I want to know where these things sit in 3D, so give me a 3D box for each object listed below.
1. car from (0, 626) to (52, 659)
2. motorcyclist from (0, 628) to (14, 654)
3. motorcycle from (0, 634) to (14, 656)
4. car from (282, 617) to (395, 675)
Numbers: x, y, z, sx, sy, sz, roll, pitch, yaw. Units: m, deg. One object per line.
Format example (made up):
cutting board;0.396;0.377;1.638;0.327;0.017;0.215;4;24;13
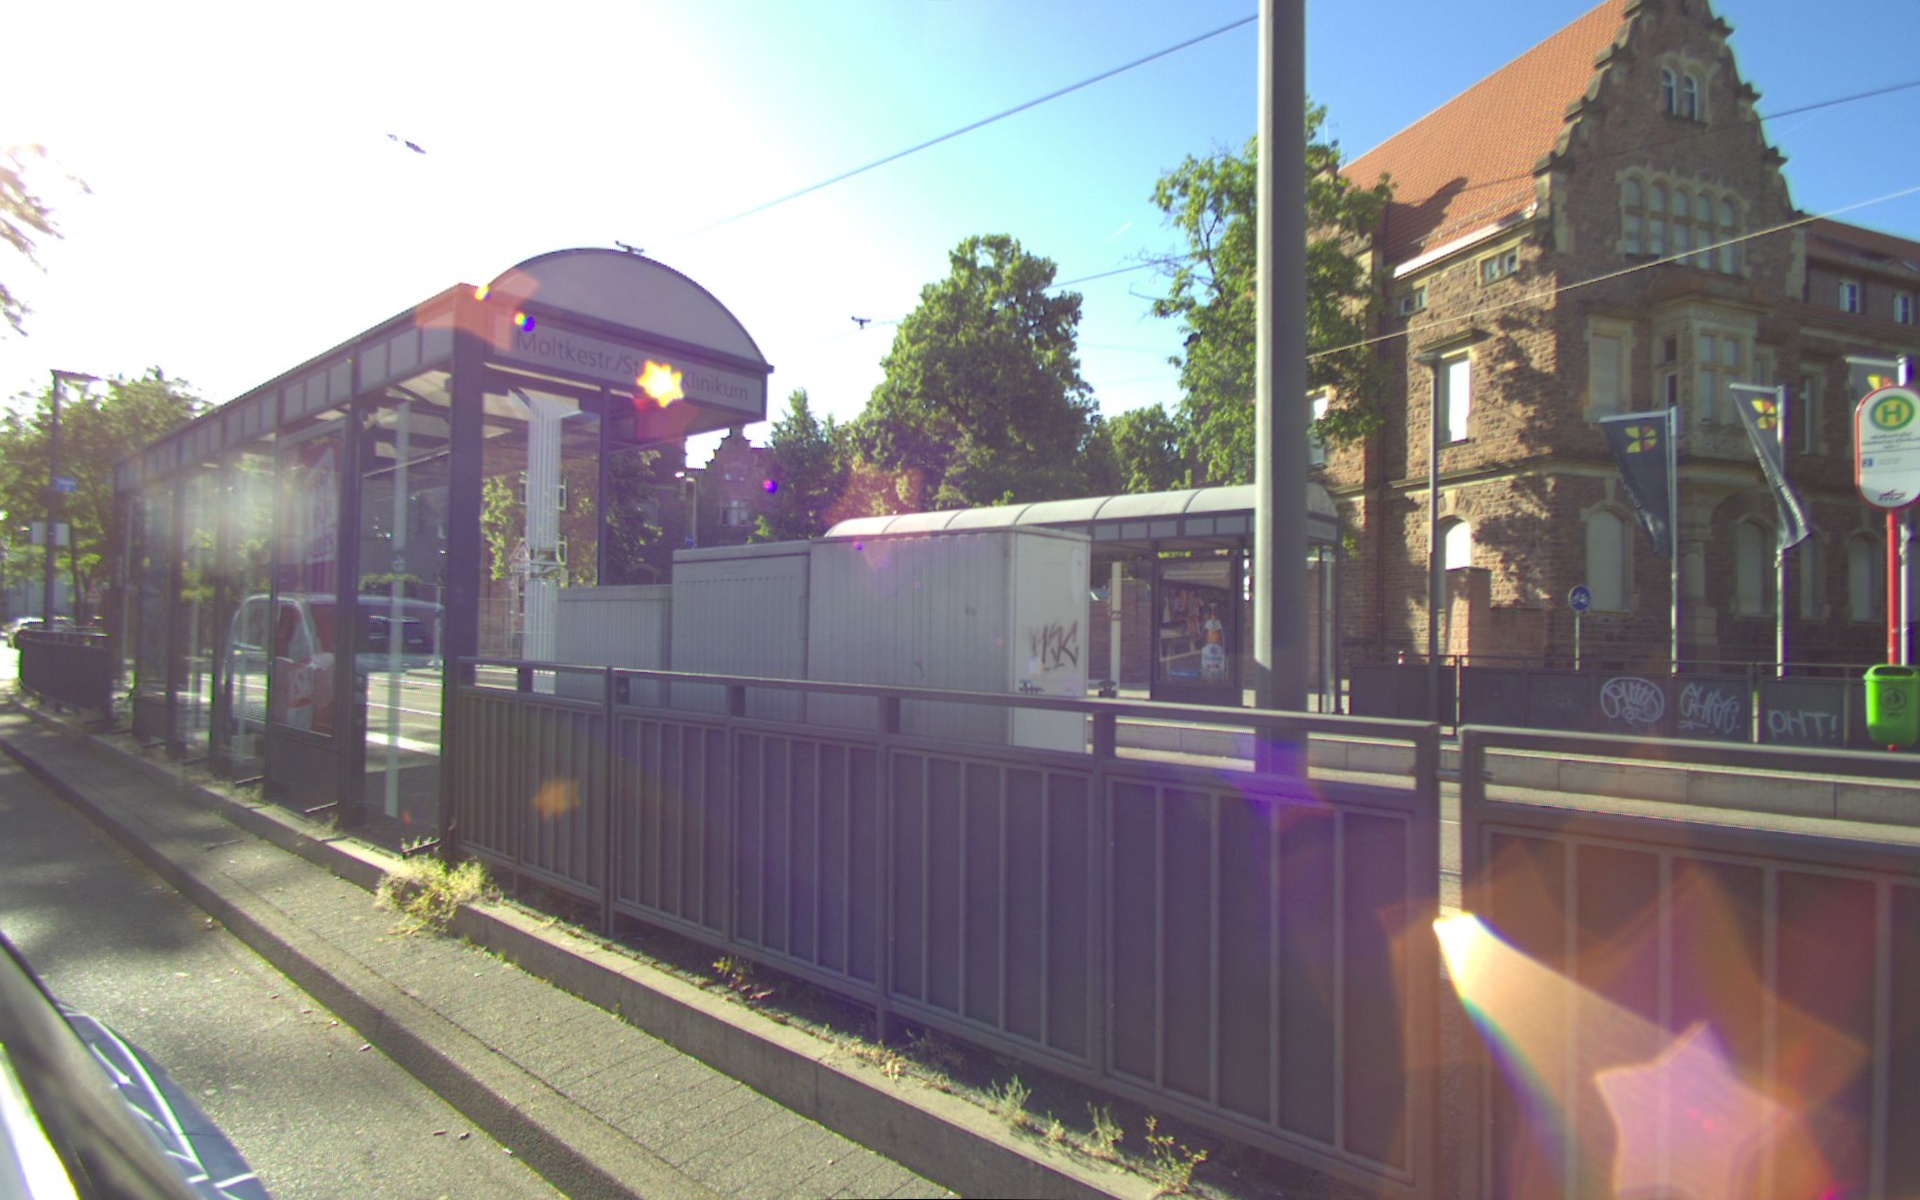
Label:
car;-46.006;2.095;49.647;3.982;1.414;1.835;-6;-5;43
motorcyclist;-57.616;2.463;60.733;1.055;1.536;1.112;-1;-2;44
motorcycle;-57.500;2.714;60.606;2.574;1.253;1.117;-1;-2;44
car;-19.549;1.401;31.765;4.357;1.690;1.886;-1;-2;42
